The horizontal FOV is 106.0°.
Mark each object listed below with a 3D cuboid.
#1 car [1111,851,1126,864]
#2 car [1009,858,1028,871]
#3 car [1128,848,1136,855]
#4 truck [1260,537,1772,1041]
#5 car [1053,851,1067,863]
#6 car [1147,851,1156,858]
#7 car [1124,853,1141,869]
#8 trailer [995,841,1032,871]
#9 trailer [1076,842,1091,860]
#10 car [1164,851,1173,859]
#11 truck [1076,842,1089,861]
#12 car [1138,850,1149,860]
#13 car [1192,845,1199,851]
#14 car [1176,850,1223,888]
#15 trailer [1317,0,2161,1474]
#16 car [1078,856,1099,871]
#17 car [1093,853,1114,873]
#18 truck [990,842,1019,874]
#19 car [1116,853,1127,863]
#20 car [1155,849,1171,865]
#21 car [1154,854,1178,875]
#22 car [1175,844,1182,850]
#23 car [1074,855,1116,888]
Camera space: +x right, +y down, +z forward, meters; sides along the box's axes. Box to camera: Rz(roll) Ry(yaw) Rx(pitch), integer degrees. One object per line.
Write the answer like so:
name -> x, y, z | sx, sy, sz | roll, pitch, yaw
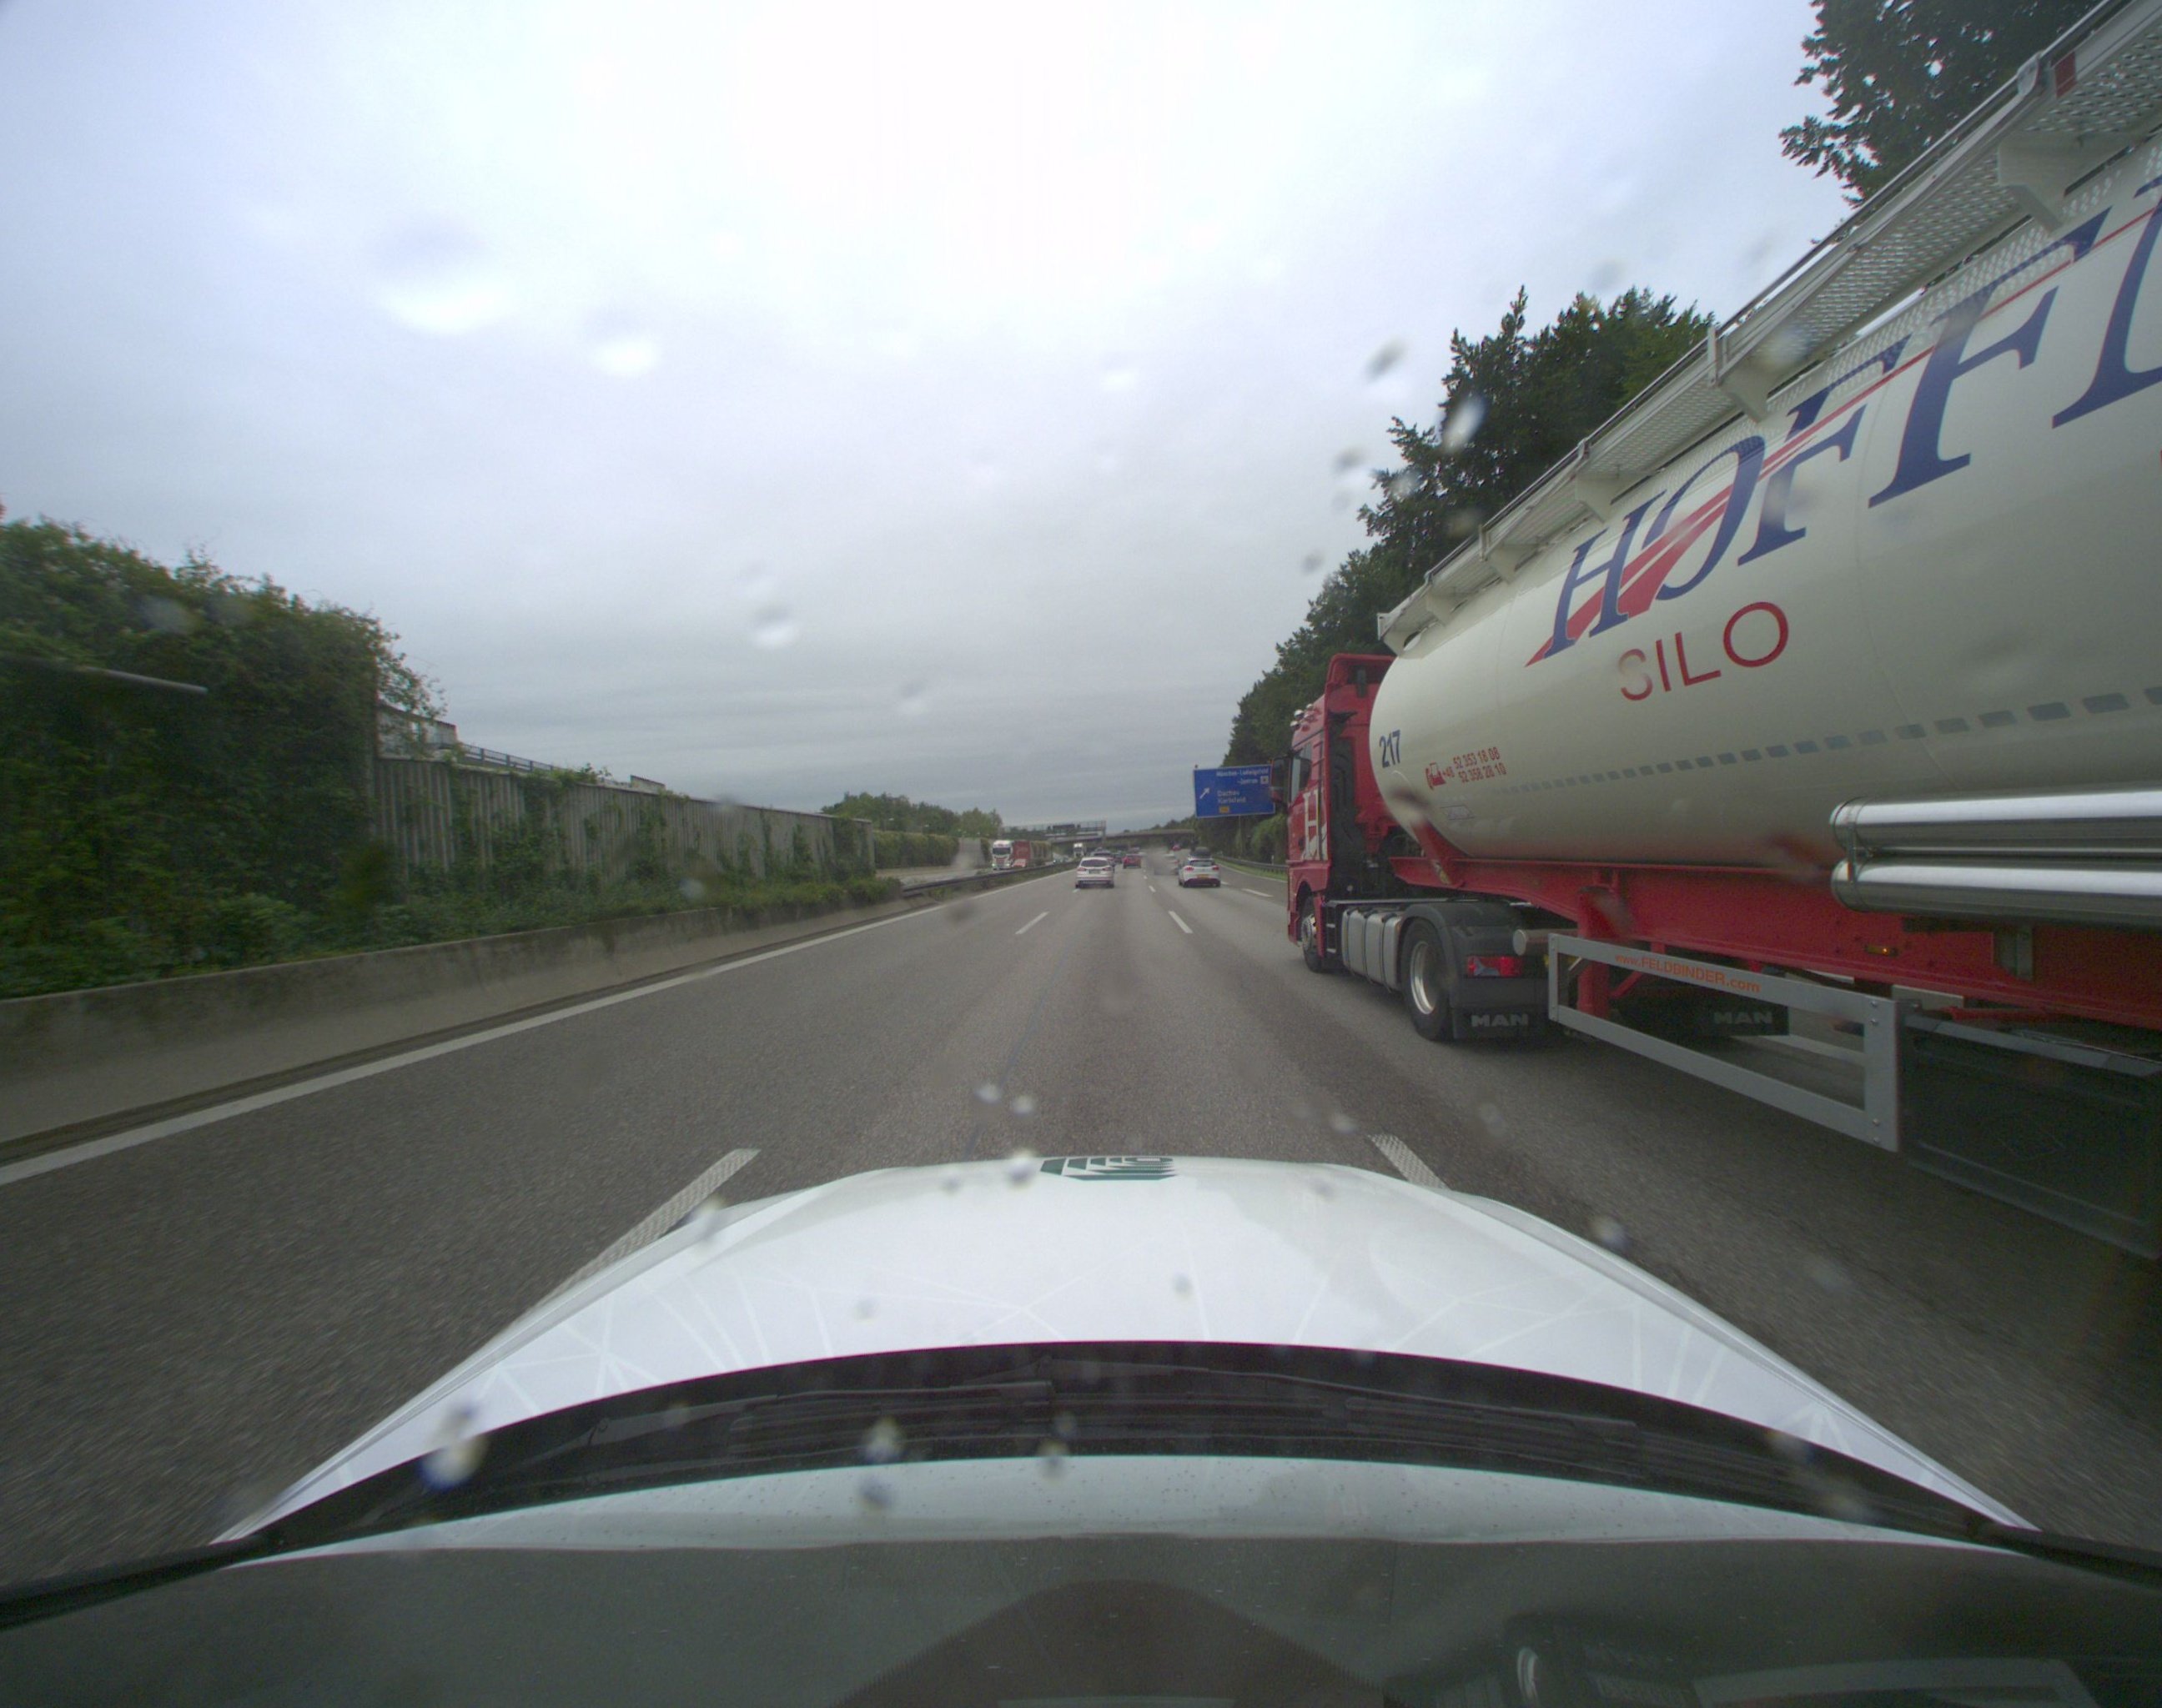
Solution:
car -> 5.073, 0.458, 109.196 | 1.679, 1.506, 3.879 | -2, 0, 7
car -> -7.784, 1.267, 101.767 | 1.764, 1.569, 4.720 | -1, -1, 3
car -> 11.842, -0.558, 188.172 | 1.680, 1.422, 3.877 | -2, 0, 5
truck -> 4.139, -0.496, 9.698 | 2.685, 3.912, 6.559 | -1, 0, 2
car -> -3.481, 0.480, 137.731 | 1.985, 1.738, 4.005 | 1, 3, 3
car -> 15.972, 0.102, 184.062 | 1.680, 1.539, 3.879 | -2, 0, 7
car -> 5.290, 0.706, 83.750 | 1.681, 1.506, 3.876 | -1, 0, 5
trailer -> -9.748, 0.269, 119.710 | 2.731, 4.127, 13.711 | -1, 0, 6
trailer -> 0.710, -0.742, 209.208 | 2.655, 4.444, 8.587 | -2, 0, 6
car -> 16.923, 0.172, 157.385 | 1.680, 1.539, 3.879 | -2, 0, 7
truck -> 0.356, -0.655, 205.451 | 2.635, 4.473, 5.292 | -2, 0, 6
car -> 11.562, 0.147, 149.661 | 1.780, 1.779, 3.879 | -2, -1, 7
car -> 28.340, -1.456, 201.375 | 1.680, 1.422, 3.877 | -2, 0, 5
car -> 5.612, 0.696, 39.121 | 1.808, 1.625, 5.035 | -2, -1, 4
trailer -> 3.864, -0.530, 2.621 | 2.658, 3.939, 13.134 | -1, 0, 1
car -> 0.863, 1.040, 86.764 | 1.711, 1.469, 5.037 | -2, -3, 6
car -> 1.900, 0.692, 68.054 | 1.682, 1.506, 3.873 | 3, 1, 2
truck -> -10.563, 0.545, 112.911 | 2.655, 4.127, 5.926 | -2, 0, 6
car -> 7.250, 0.736, 146.461 | 1.680, 1.639, 3.879 | -2, -1, 7
car -> 9.720, 0.405, 96.330 | 1.680, 1.780, 3.879 | -2, -1, 7
car -> 6.294, 0.769, 60.264 | 1.681, 1.506, 3.876 | -1, -1, 5
car -> 26.206, -1.904, 218.809 | 1.680, 1.422, 3.877 | -2, 0, 5
car -> 0.736, 0.800, 39.742 | 1.884, 1.504, 5.033 | 0, 0, 3
